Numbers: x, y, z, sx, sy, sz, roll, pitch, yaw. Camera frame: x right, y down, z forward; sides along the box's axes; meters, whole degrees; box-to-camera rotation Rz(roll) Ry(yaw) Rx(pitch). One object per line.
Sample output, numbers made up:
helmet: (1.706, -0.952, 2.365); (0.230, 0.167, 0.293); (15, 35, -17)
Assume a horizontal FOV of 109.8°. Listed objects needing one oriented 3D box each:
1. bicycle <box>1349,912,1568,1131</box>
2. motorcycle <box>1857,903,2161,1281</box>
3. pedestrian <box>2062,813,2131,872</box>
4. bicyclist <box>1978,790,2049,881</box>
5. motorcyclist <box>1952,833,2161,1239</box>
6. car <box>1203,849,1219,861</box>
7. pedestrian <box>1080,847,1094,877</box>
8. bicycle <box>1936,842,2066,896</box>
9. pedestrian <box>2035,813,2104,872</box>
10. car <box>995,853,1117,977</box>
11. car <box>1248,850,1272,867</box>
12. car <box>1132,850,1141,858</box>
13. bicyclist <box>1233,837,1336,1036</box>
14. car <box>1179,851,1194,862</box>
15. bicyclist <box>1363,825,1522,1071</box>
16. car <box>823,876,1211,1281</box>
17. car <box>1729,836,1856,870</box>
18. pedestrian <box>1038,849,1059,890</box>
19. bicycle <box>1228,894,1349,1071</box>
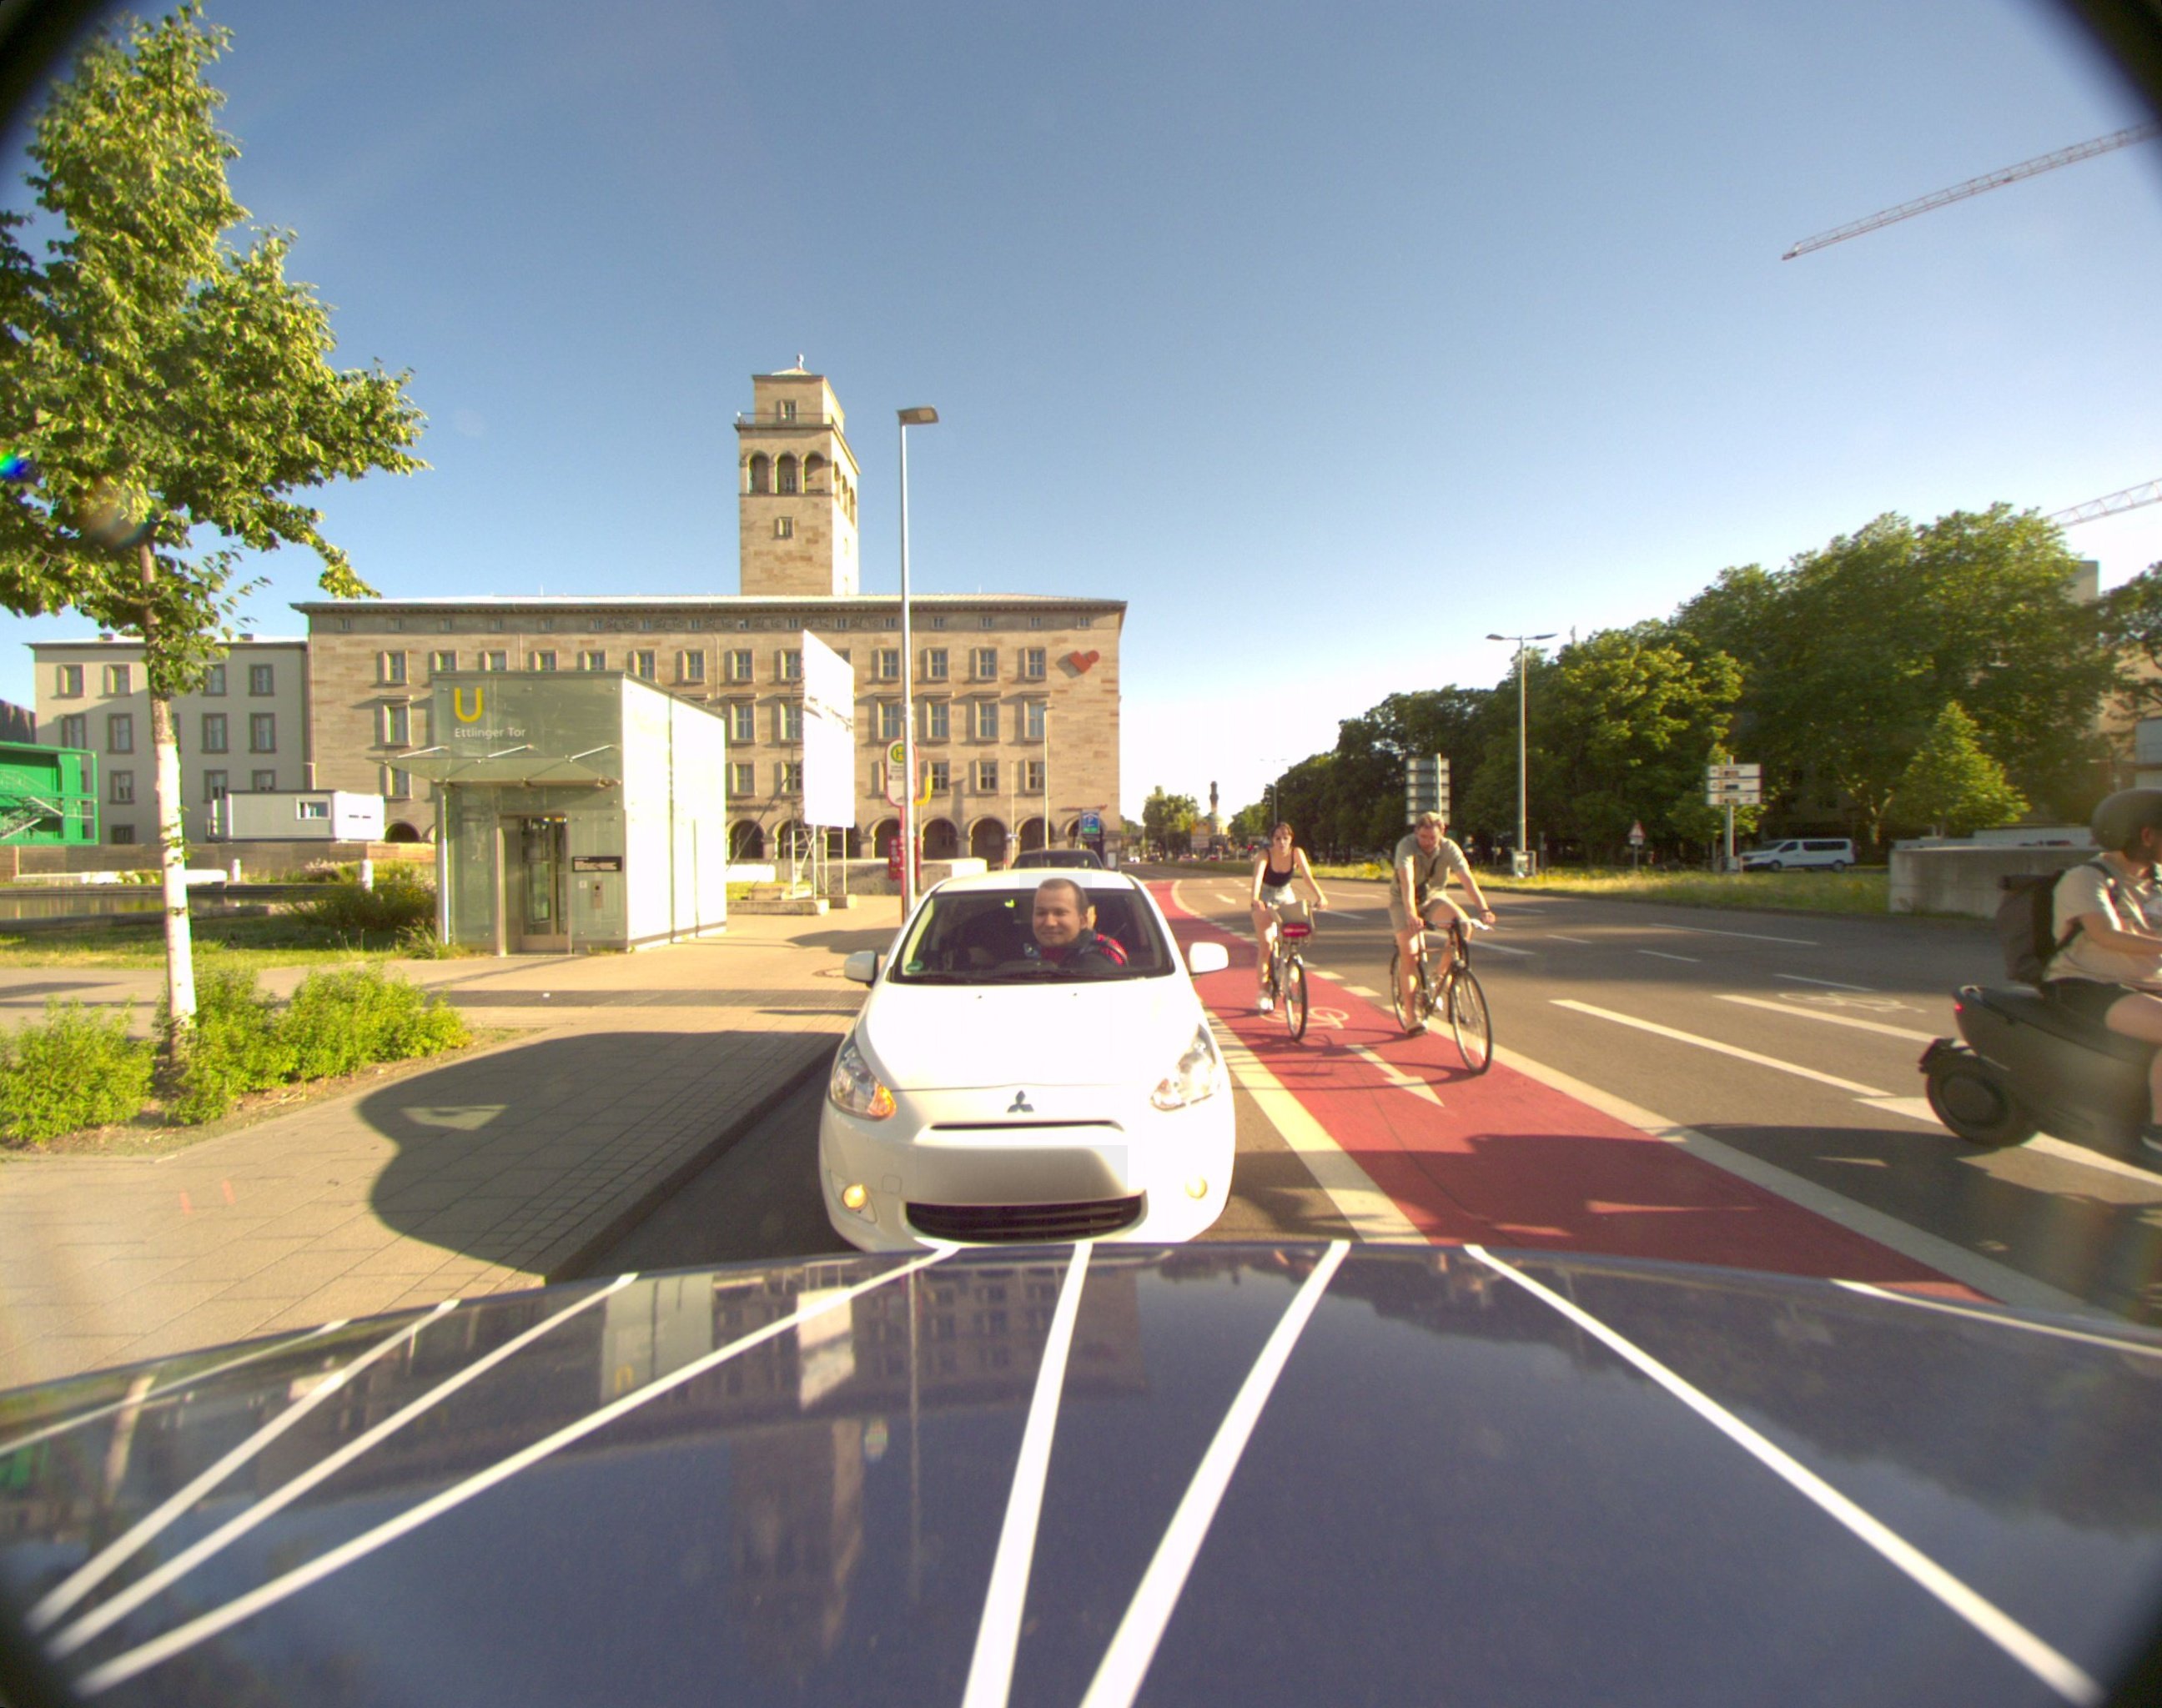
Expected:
bicycle: (2.544, 1.051, 5.403); (0.648, 1.103, 1.971); (-2, 0, 4)
motorcycle: (4.286, 0.901, 2.890); (0.724, 1.286, 1.884); (-2, 0, 1)
pedestrian: (35.986, -0.413, 26.936); (0.940, 2.002, 1.137); (-2, 1, -5)
bicyclist: (32.718, -0.647, 26.685); (0.841, 3.085, 1.306); (-2, 1, -1)
motorcyclist: (4.278, 0.657, 2.943); (0.727, 1.466, 0.917); (-2, 0, 1)
car: (20.591, 0.123, 120.444); (1.747, 1.778, 3.947); (-2, 1, 1)
pedestrian: (0.503, 0.660, 65.484); (1.122, 2.524, 1.055); (-2, 1, 1)
bicycle: (32.756, 0.535, 27.154); (0.841, 1.800, 3.082); (-2, -1, -1)
pedestrian: (34.931, -0.406, 26.866); (0.940, 2.002, 1.137); (-2, 1, -5)
car: (-0.370, 0.842, 12.523); (1.642, 1.653, 3.849); (-2, 0, -1)
car: (21.066, 0.542, 89.505); (1.819, 1.817, 3.999); (-2, 1, 1)
car: (12.184, 0.007, 167.332); (1.849, 1.677, 4.000); (-2, 1, 2)
bicyclist: (1.710, 0.664, 6.502); (0.643, 1.570, 0.875); (-2, 1, 3)
car: (16.498, 0.397, 119.139); (1.849, 1.677, 3.999); (-2, 1, 1)
bicyclist: (2.530, 0.622, 5.407); (0.718, 1.596, 0.842); (-2, 1, 3)
car: (-0.231, 0.956, 4.844); (1.496, 1.477, 3.604); (-2, 0, 1)
car: (42.137, -0.050, 45.114); (5.516, 1.924, 2.065); (-1, 1, 2)
pedestrian: (-2.061, 0.953, 48.313); (1.122, 2.524, 1.055); (-2, 1, 1)
bicycle: (1.732, 1.020, 6.620); (0.617, 1.211, 1.832); (-2, 0, 4)
